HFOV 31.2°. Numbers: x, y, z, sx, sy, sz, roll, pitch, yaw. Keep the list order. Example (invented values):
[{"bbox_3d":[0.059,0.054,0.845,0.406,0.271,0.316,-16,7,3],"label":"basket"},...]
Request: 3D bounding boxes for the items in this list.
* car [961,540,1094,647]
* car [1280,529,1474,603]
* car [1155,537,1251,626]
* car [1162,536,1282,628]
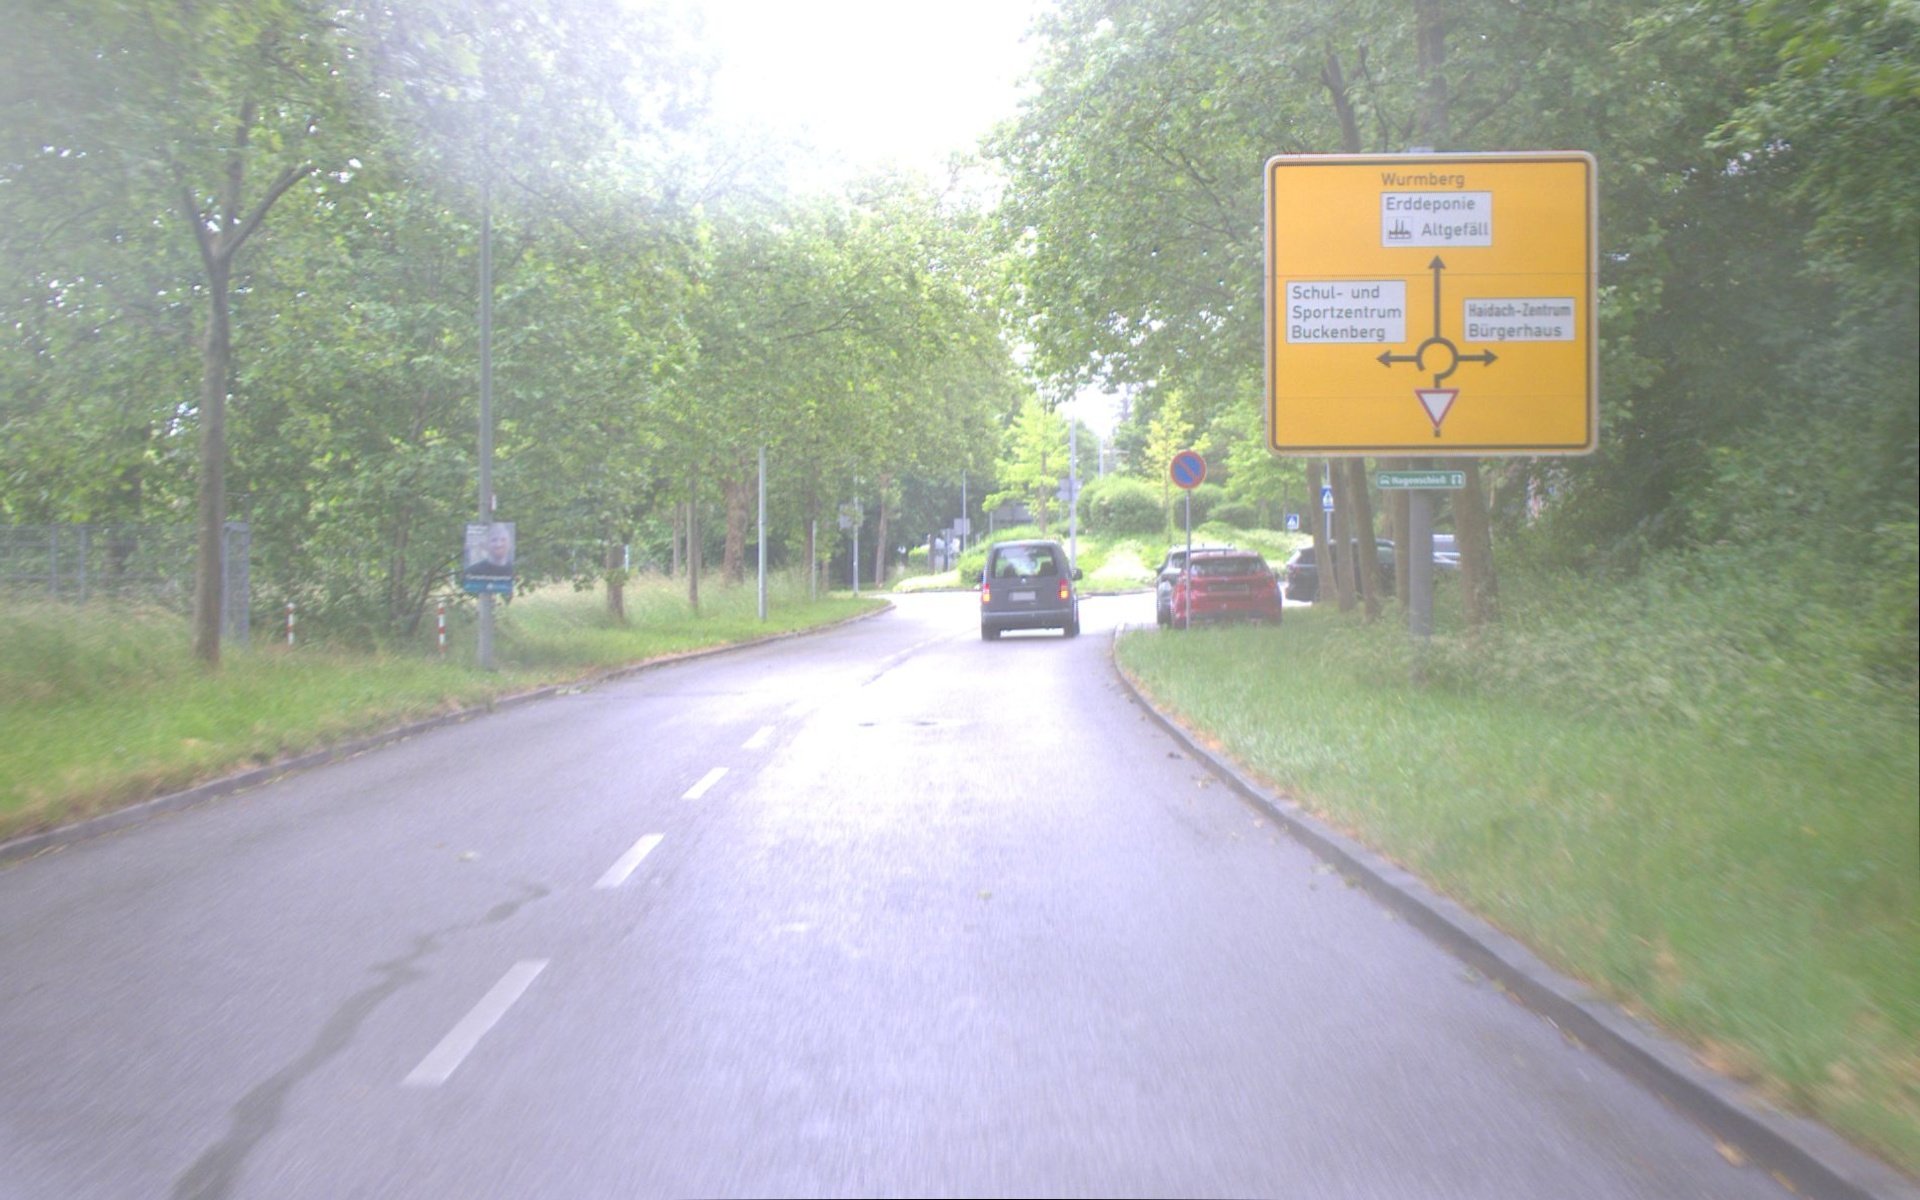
[{"bbox_3d":[1.311,-0.158,65.044,1.919,1.795,3.789,-4,1,8],"label":"car"},{"bbox_3d":[9.818,-0.809,81.216,4.471,1.674,1.767,-1,2,5],"label":"car"},{"bbox_3d":[4.683,-0.367,66.662,1.728,1.586,4.252,-3,0,3],"label":"car"},{"bbox_3d":[4.174,-0.297,55.239,1.797,1.367,3.744,-2,0,3],"label":"car"}]
